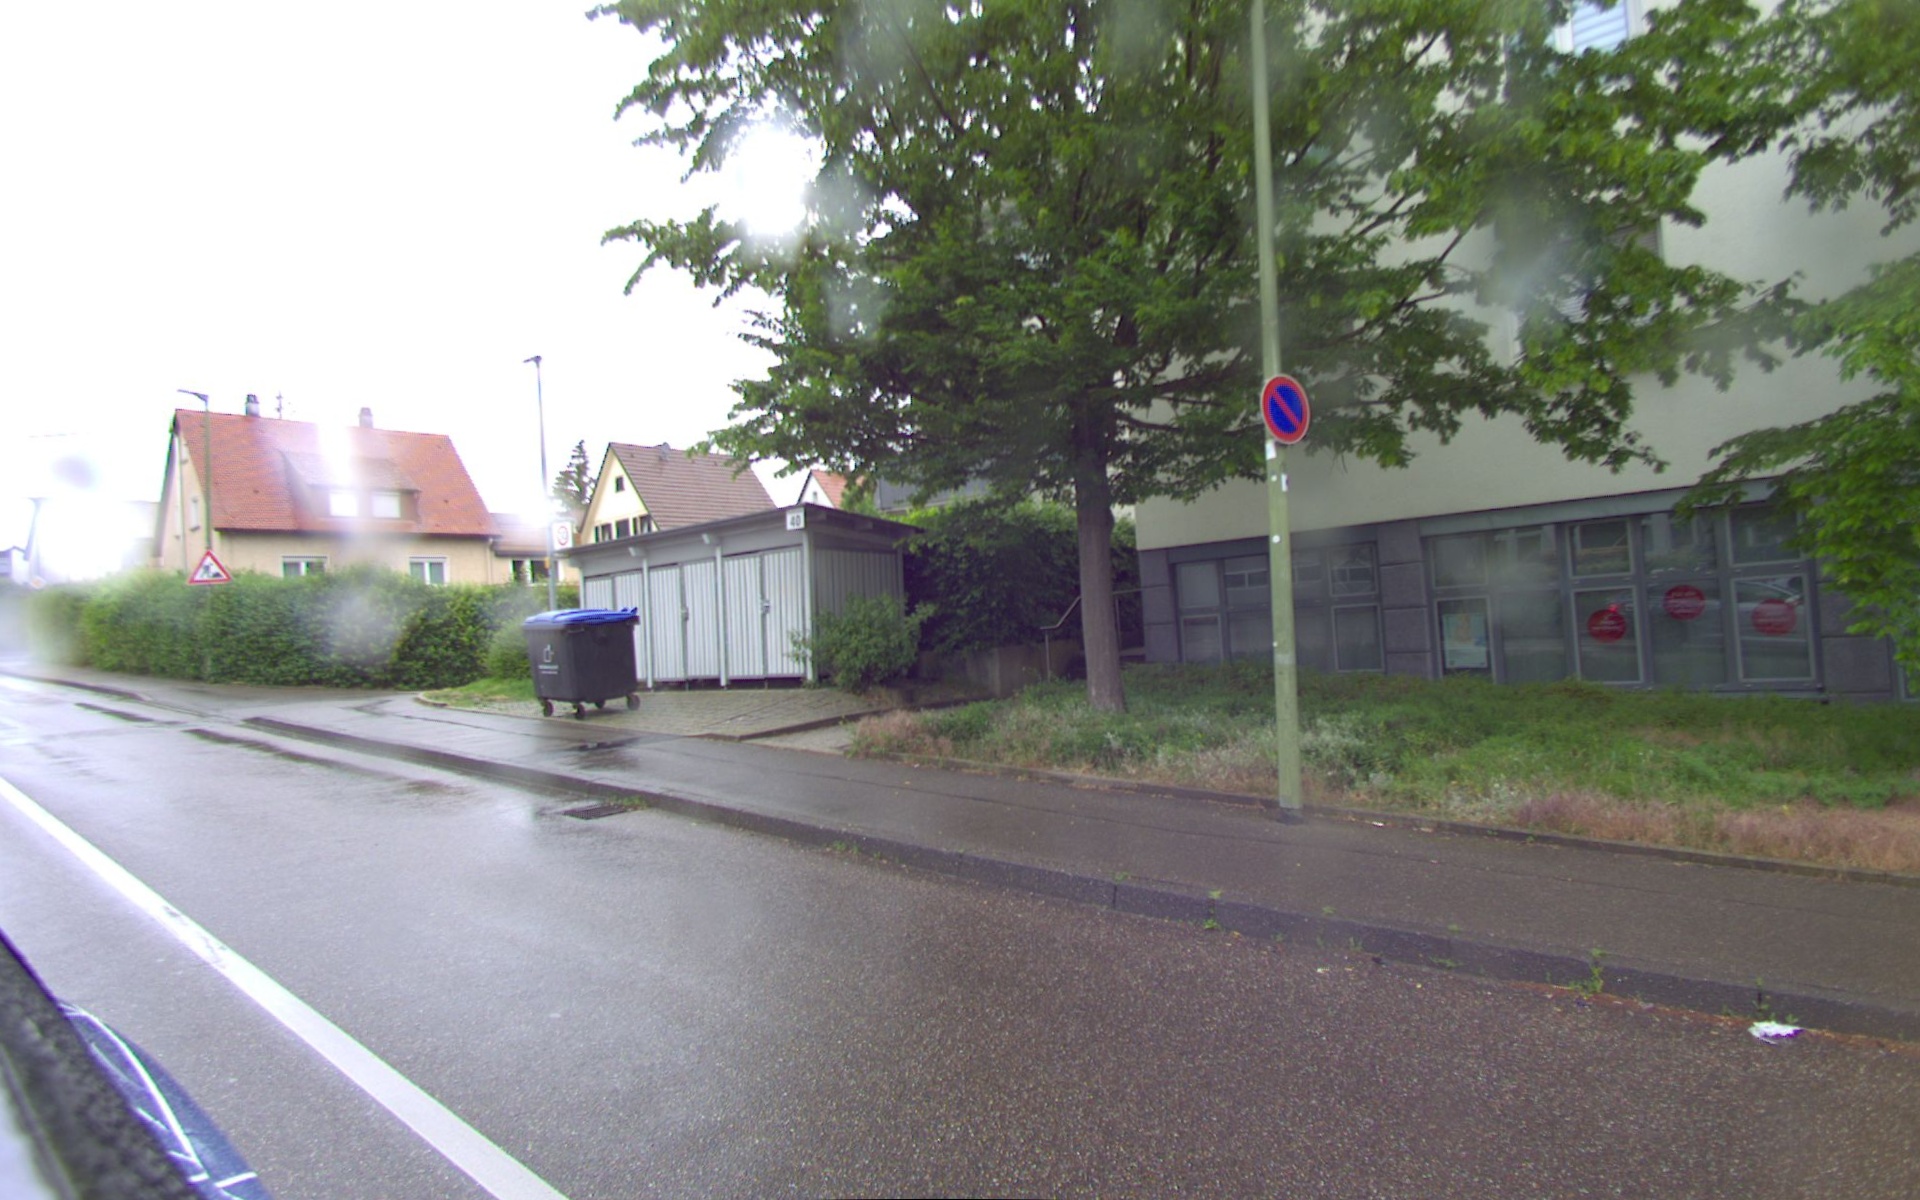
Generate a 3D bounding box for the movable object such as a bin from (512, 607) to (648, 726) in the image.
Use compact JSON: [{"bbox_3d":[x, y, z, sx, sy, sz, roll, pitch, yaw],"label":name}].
[{"bbox_3d":[-4.751,0.810,12.659,1.201,1.306,1.043,-3,3,41],"label":"movable object such as a bin"}]
